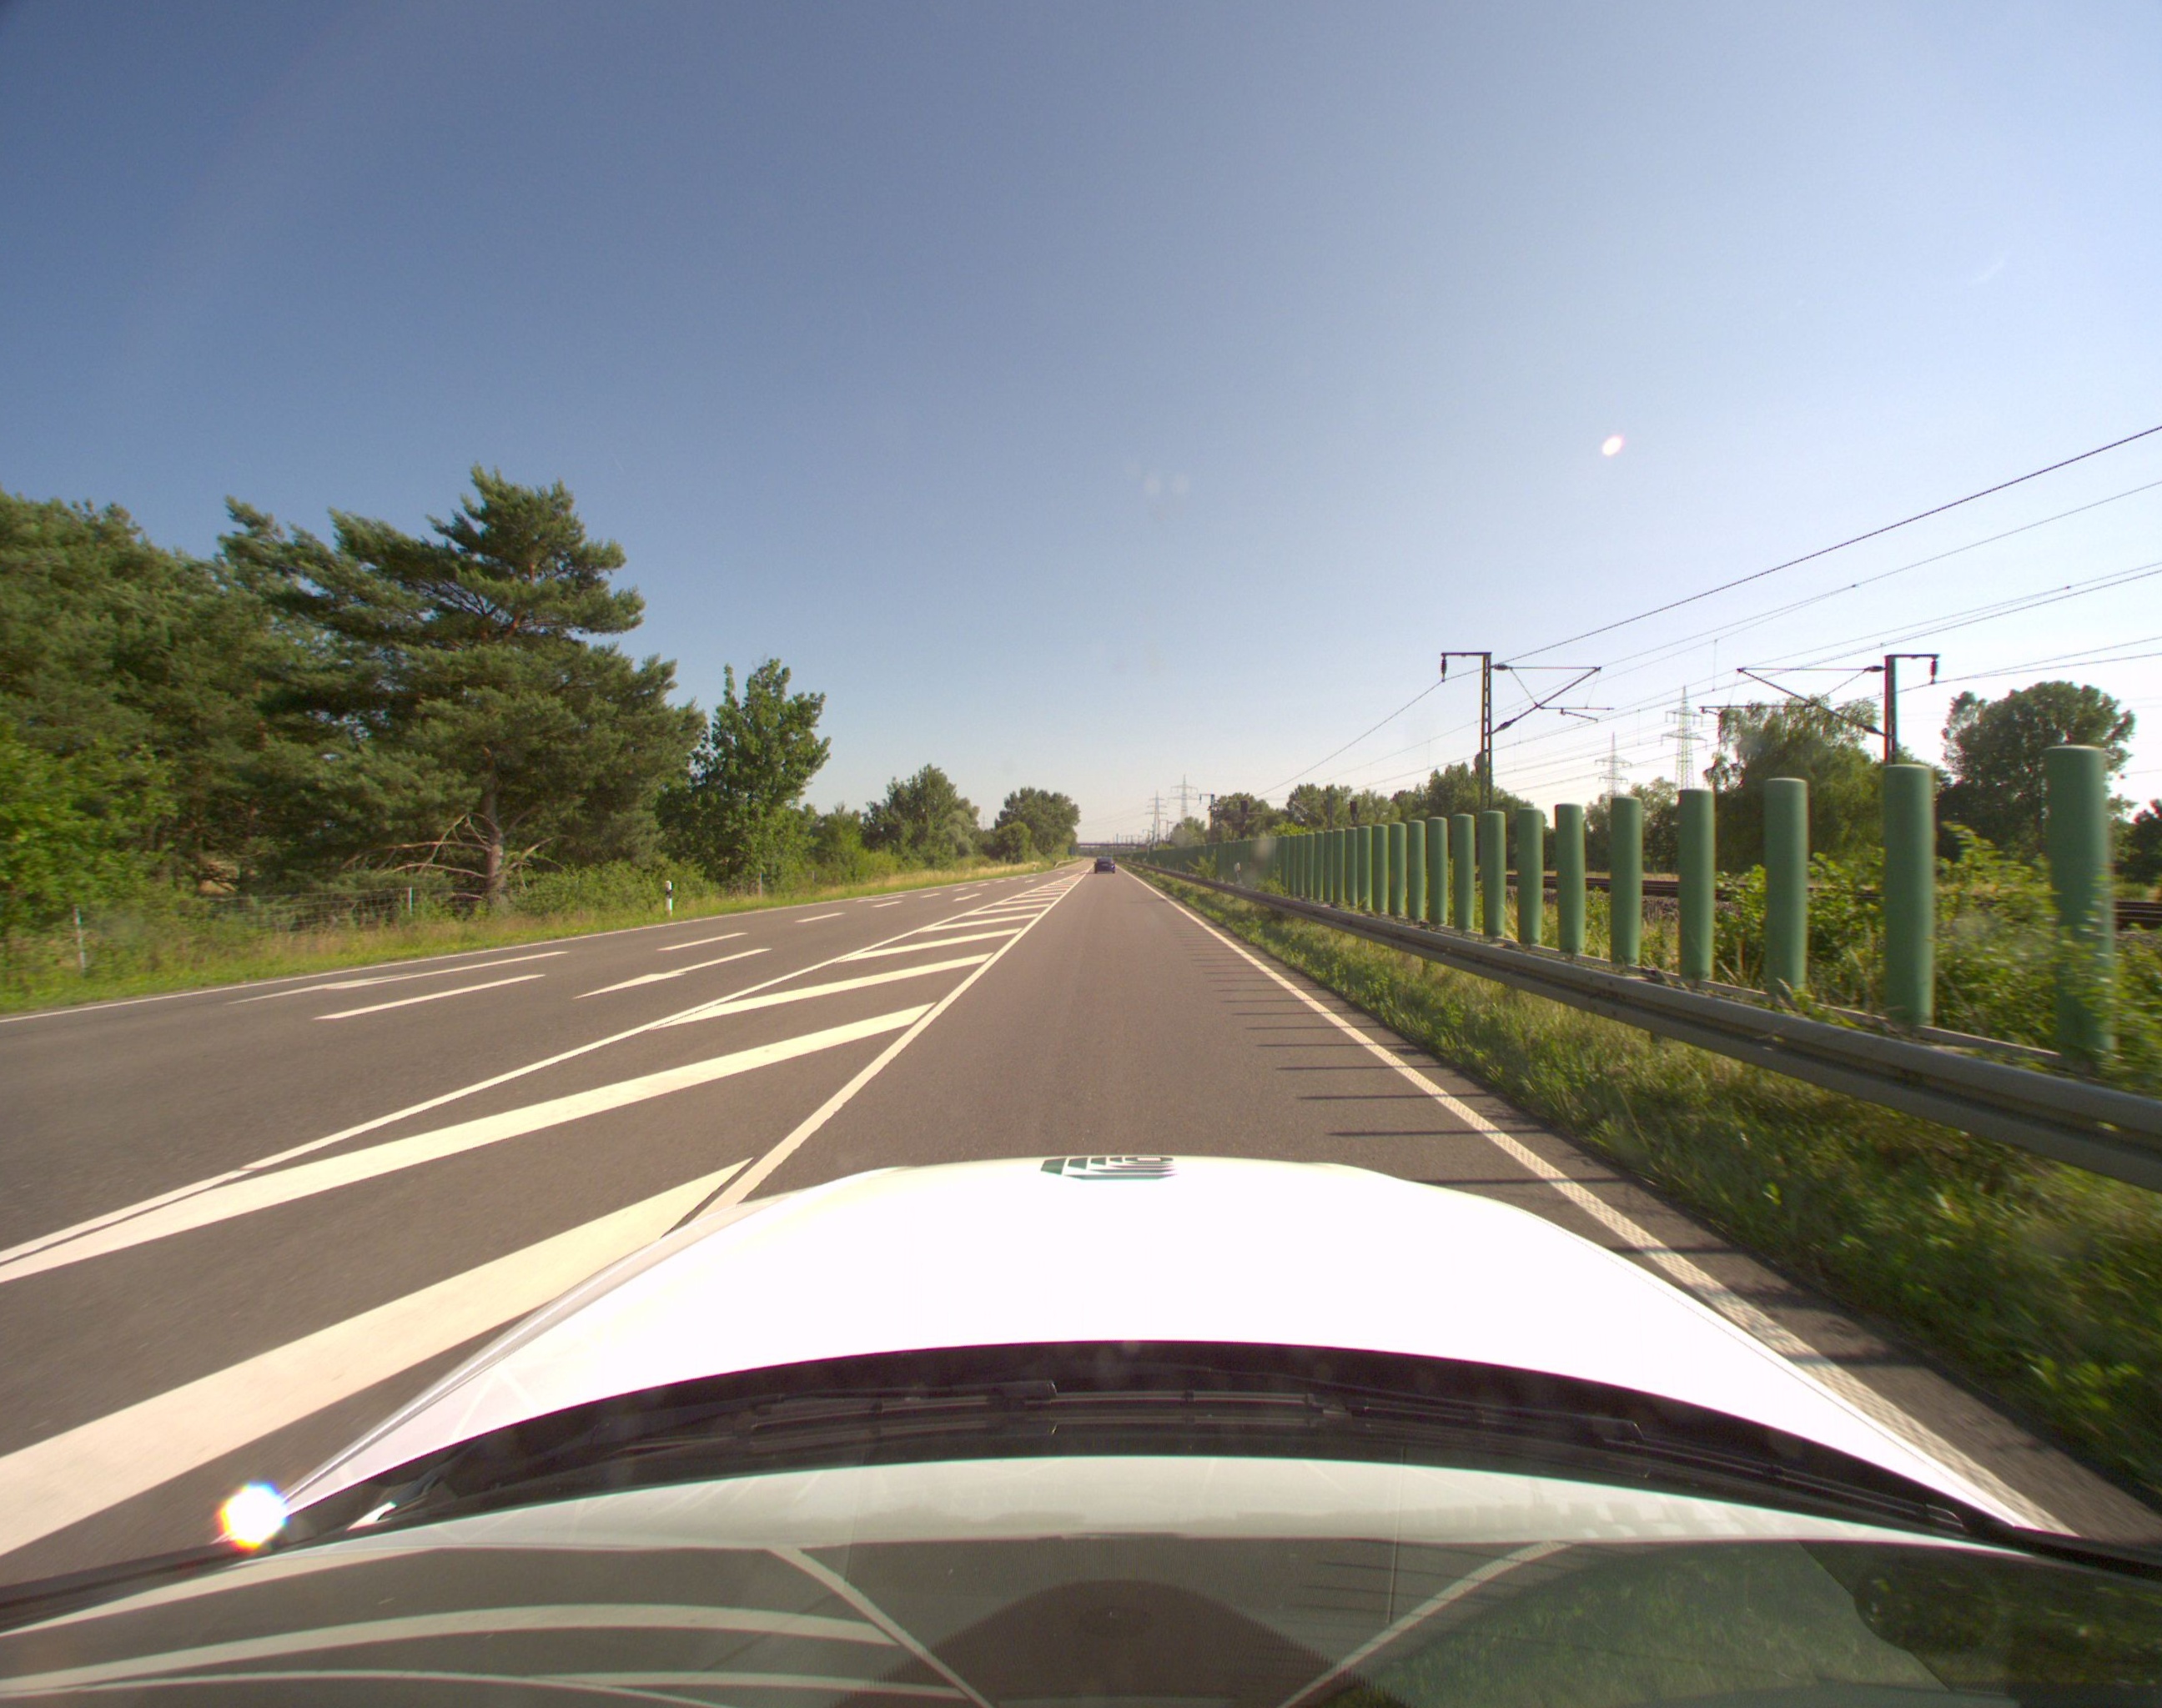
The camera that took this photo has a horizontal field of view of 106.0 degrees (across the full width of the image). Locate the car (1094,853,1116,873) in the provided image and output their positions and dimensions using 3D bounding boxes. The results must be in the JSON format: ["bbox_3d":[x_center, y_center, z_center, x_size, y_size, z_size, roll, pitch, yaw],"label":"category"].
[{"bbox_3d":[2.194,0.791,72.467,1.851,1.642,4.002,-2,0,2],"label":"car"}]
